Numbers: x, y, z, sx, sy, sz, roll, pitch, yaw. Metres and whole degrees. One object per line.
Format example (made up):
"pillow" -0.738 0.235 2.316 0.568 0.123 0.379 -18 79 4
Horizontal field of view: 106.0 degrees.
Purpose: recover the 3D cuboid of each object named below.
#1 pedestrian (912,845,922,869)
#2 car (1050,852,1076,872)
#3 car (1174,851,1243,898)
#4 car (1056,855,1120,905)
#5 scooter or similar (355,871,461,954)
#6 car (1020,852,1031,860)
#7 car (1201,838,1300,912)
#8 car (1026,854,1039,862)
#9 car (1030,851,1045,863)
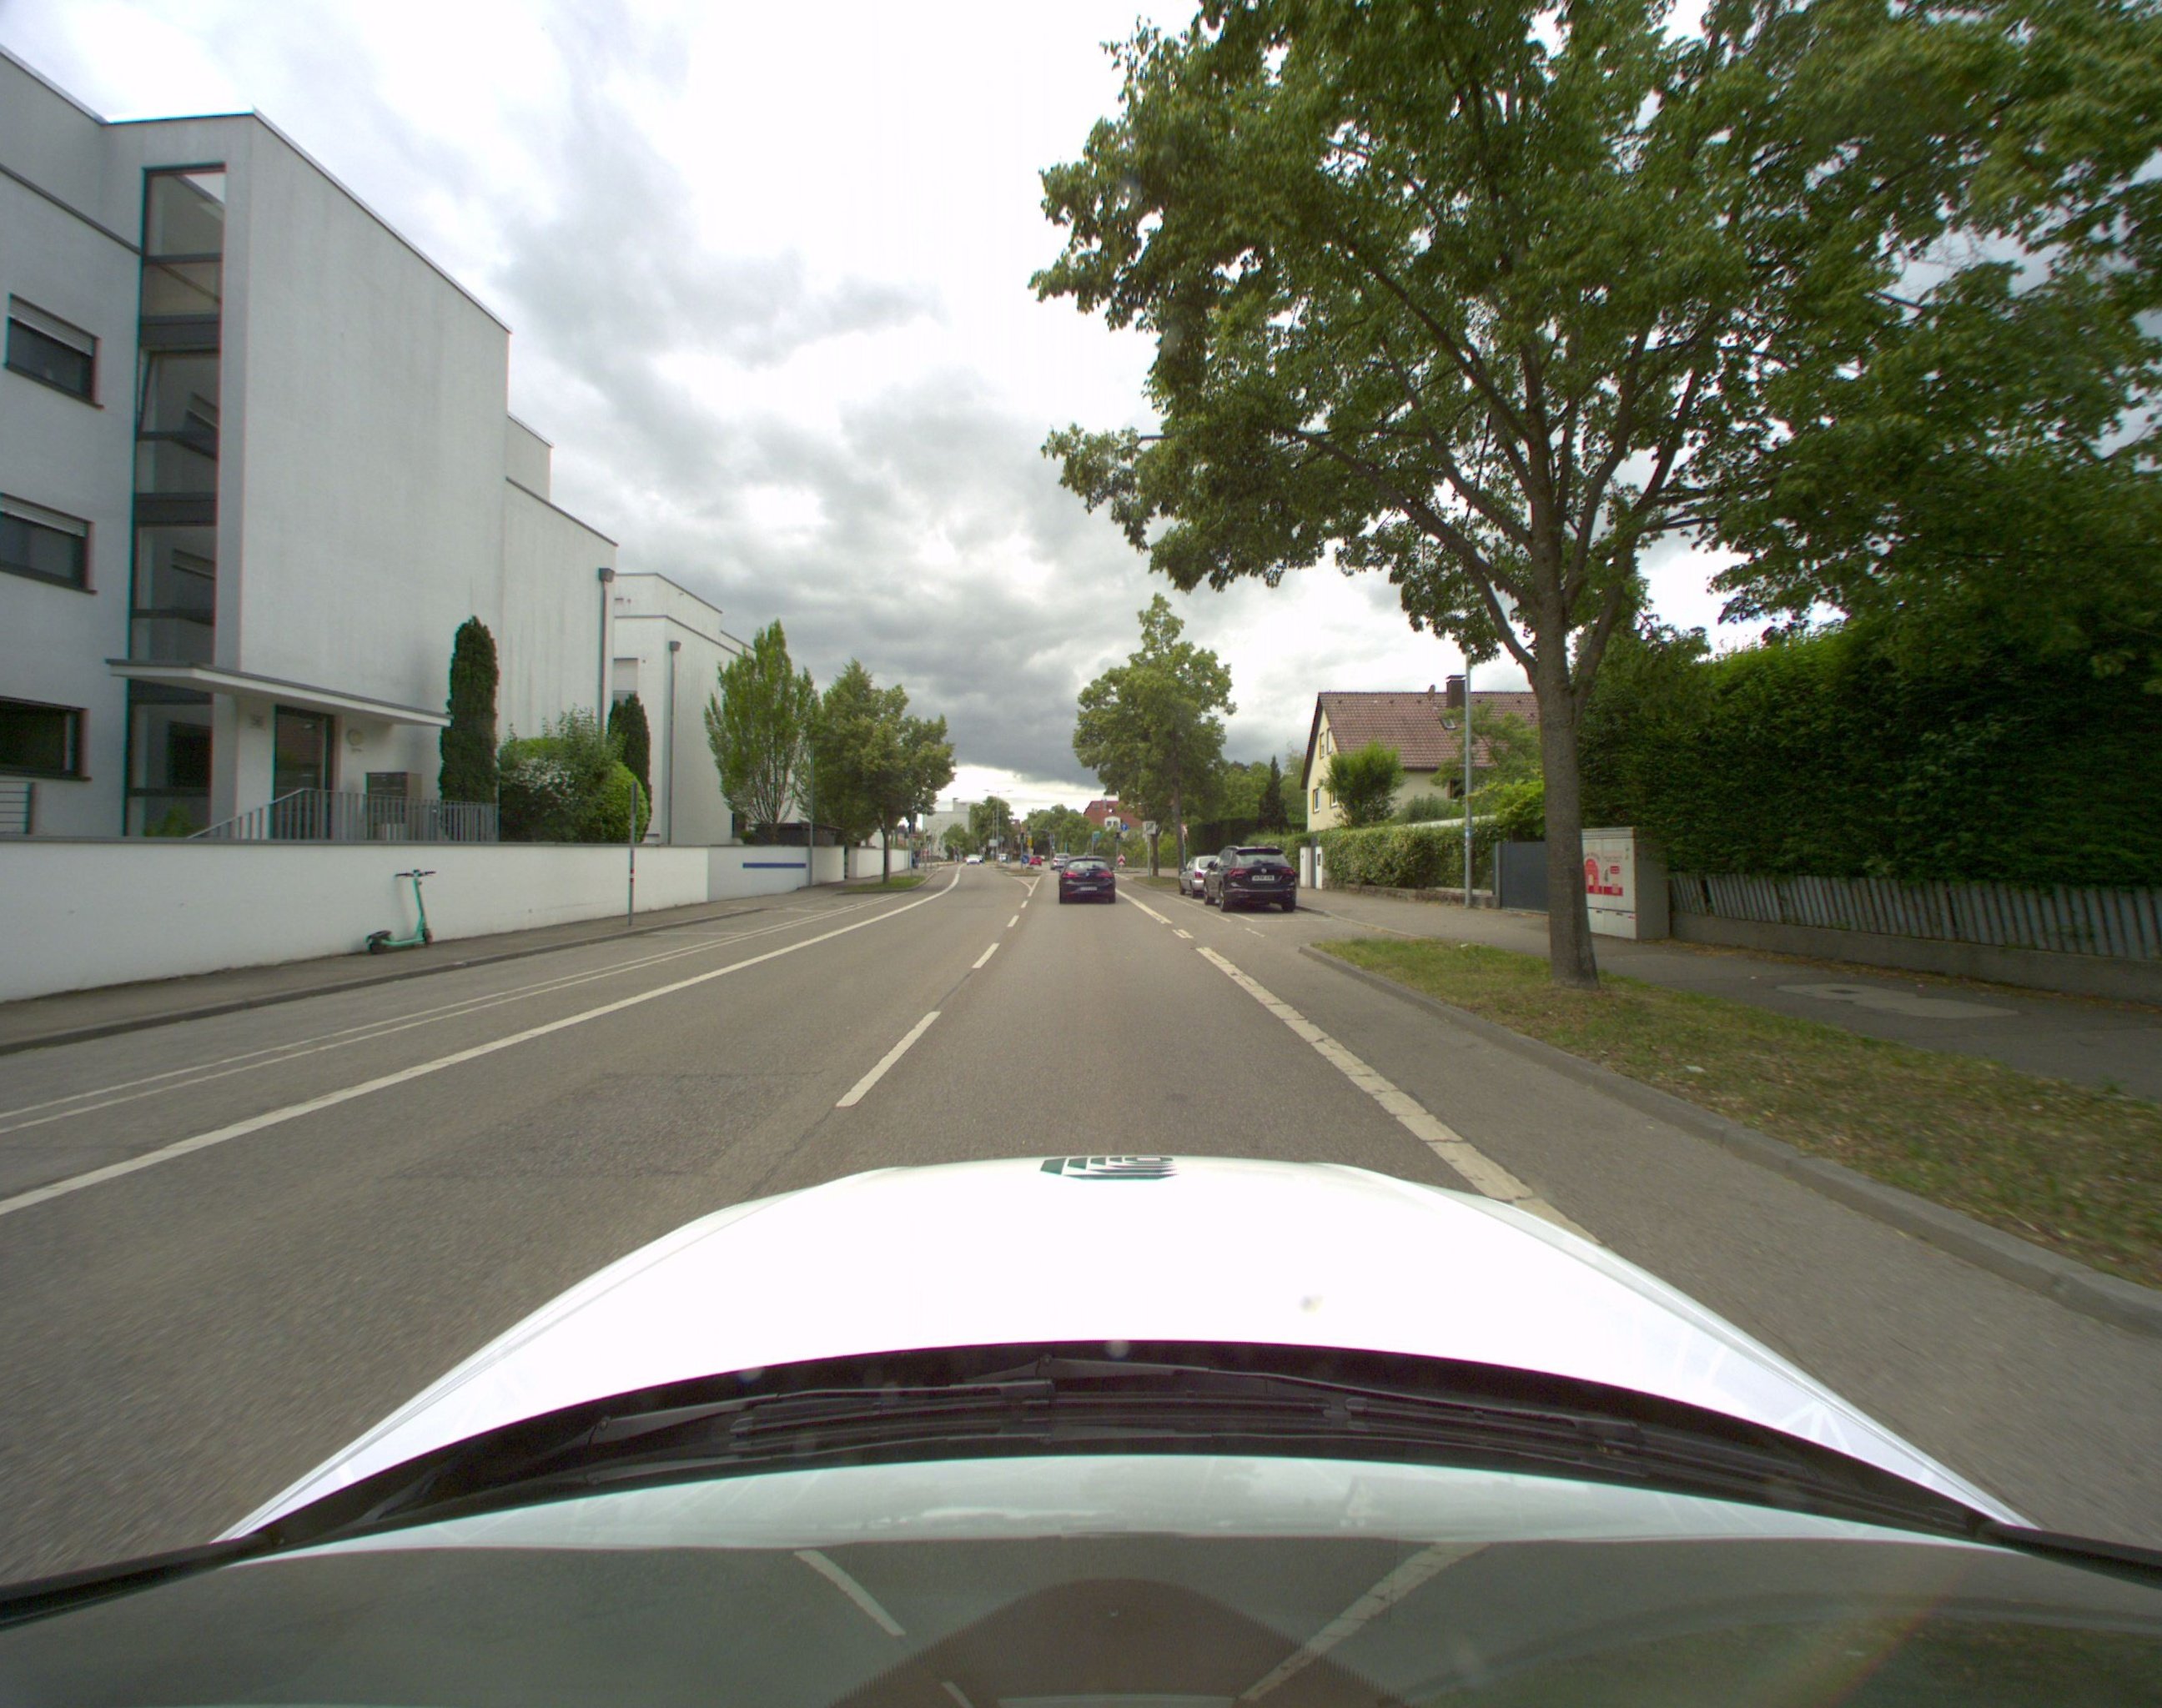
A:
"pedestrian" -13.674 0.247 68.009 0.751 2.054 0.724 0 -1 -5
"car" -1.662 0.723 72.491 1.990 1.557 3.994 -4 0 -4
"car" 4.229 0.658 27.384 1.681 1.449 3.577 0 0 -1
"car" 0.157 0.772 25.732 1.779 1.449 3.553 0 0 -4
"scooter or similar" -10.051 0.845 12.210 0.500 1.154 1.301 0 0 0
"car" -11.454 0.458 167.691 1.966 1.675 3.878 0 0 2
"car" 4.356 0.512 21.476 1.783 1.772 3.982 0 0 0
"car" -8.741 0.710 146.200 1.987 1.508 3.999 0 -1 0
"car" -5.996 0.417 112.043 1.990 1.530 3.994 -1 0 -4
